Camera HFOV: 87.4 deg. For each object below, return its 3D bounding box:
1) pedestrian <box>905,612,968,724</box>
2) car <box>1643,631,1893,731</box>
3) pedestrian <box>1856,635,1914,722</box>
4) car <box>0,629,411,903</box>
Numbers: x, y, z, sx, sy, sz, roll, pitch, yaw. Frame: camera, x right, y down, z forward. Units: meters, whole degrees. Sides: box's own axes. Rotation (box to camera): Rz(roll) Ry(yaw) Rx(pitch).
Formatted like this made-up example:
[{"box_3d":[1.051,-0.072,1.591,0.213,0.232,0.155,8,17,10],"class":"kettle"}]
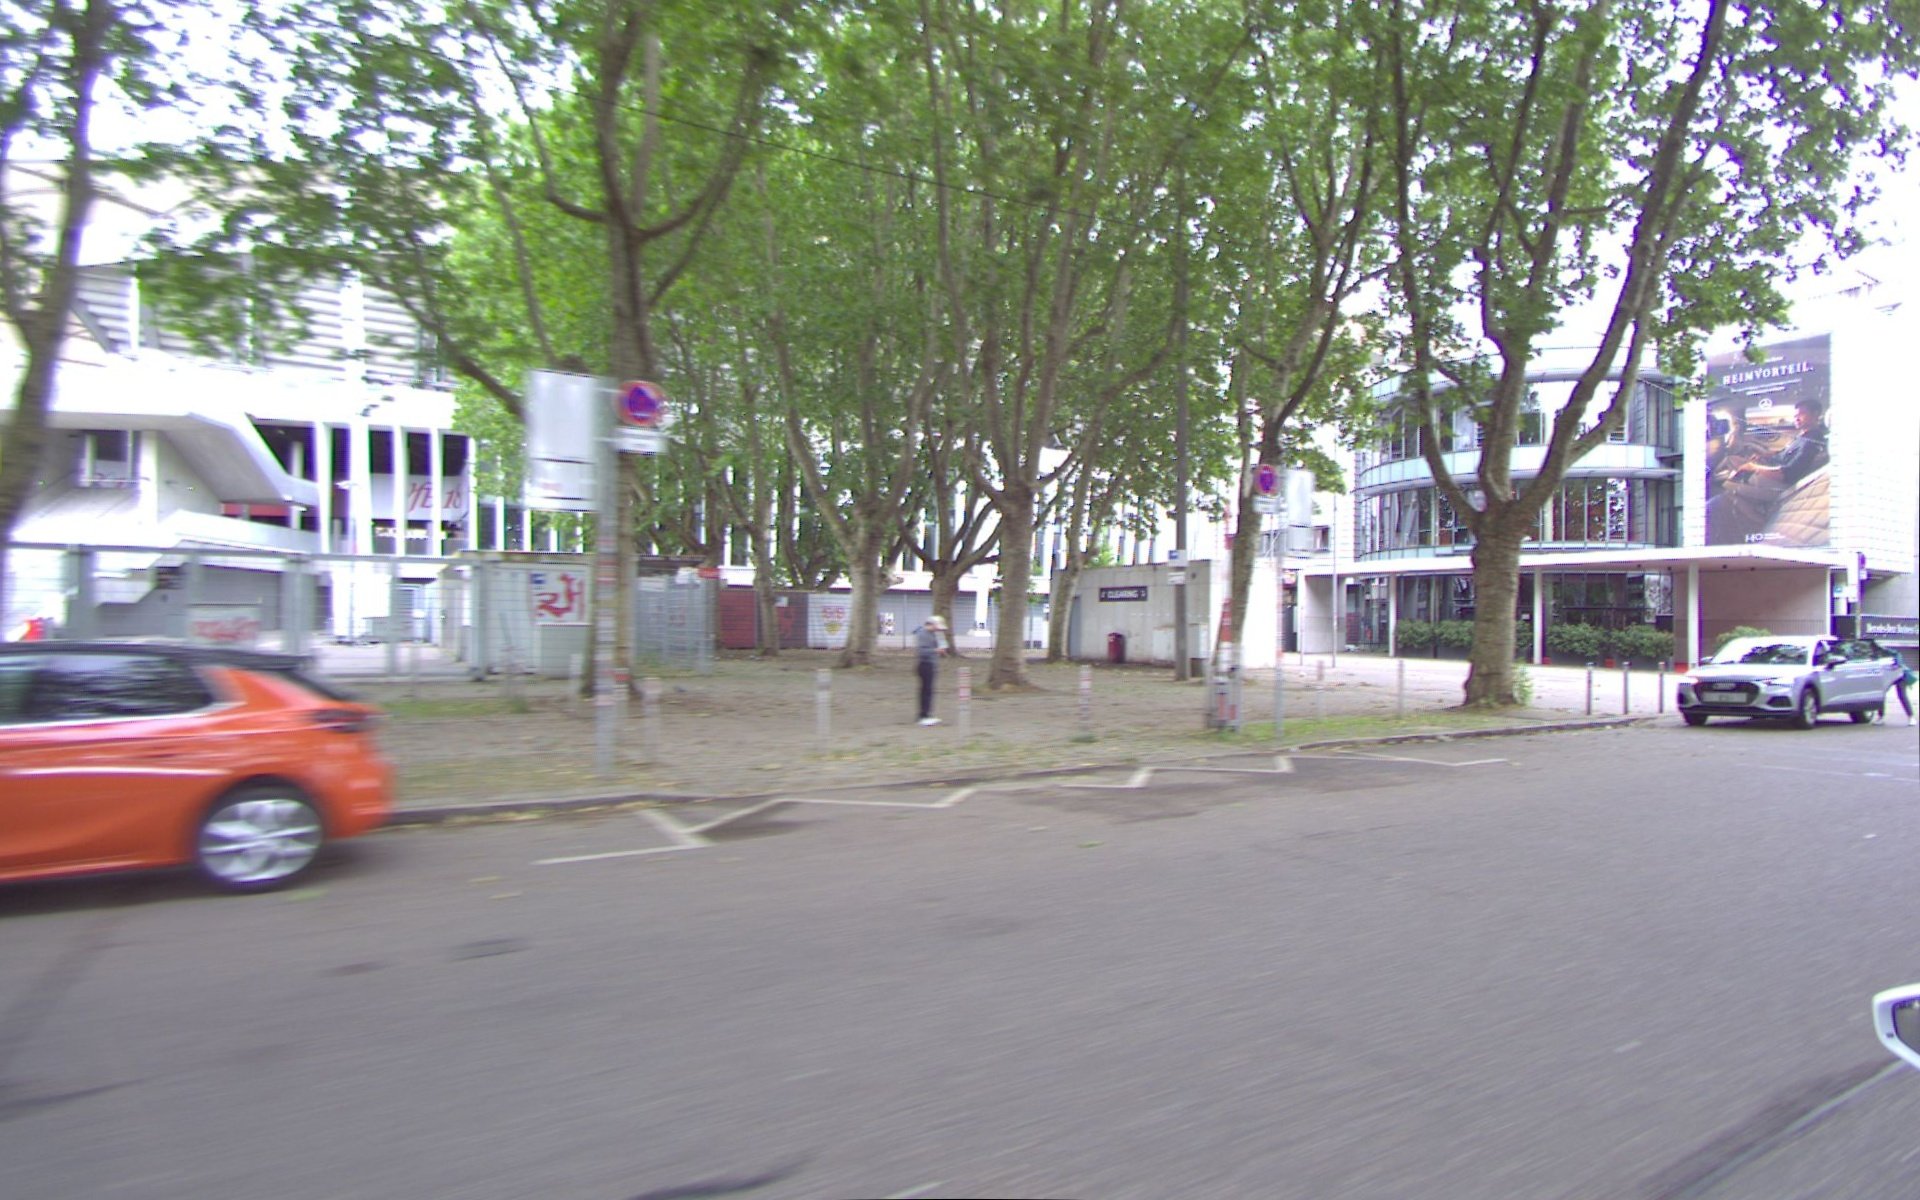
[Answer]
[{"box_3d":[-0.363,1.004,15.169,0.780,1.641,0.591,1,-1,-22],"class":"pedestrian"},{"box_3d":[14.786,1.382,18.337,4.701,1.583,2.063,1,-1,-31],"class":"car"},{"box_3d":[16.289,1.368,17.693,0.560,1.486,0.581,1,0,-27],"class":"pedestrian"},{"box_3d":[-5.468,0.869,5.829,3.954,1.372,1.799,1,-1,-31],"class":"car"}]
